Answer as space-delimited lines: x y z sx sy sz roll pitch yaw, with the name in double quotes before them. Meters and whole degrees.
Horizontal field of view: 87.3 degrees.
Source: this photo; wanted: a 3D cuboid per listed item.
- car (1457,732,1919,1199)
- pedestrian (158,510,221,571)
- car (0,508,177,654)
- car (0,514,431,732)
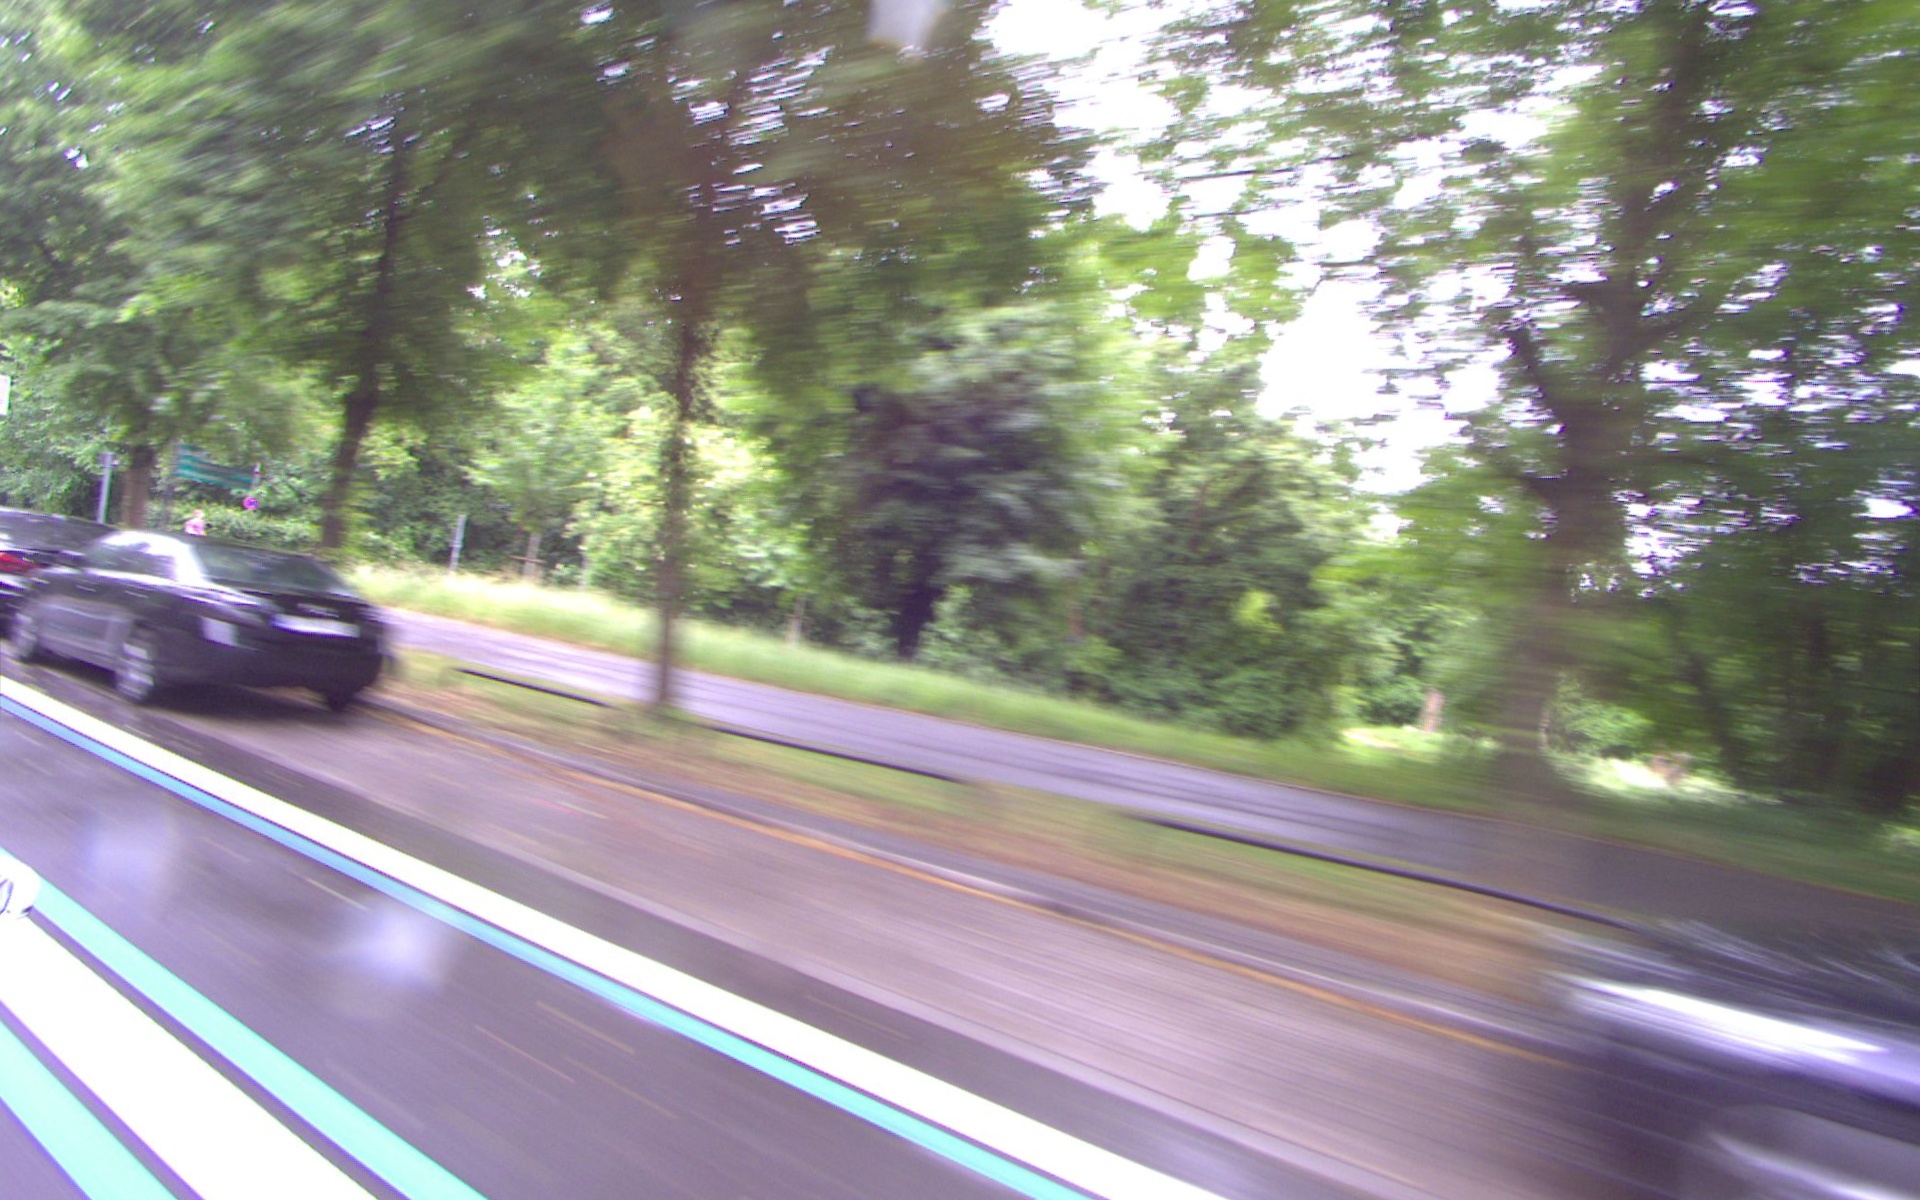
"car" 4.058 1.436 2.608 4.764 1.423 1.786 6 -3 30
"pedestrian" -24.863 -1.918 32.484 1.126 1.753 0.889 8 -1 -6
"car" -11.918 -0.388 12.686 4.780 1.456 1.760 6 -3 35
"car" -7.312 0.161 9.624 4.684 1.435 1.703 6 -3 32
